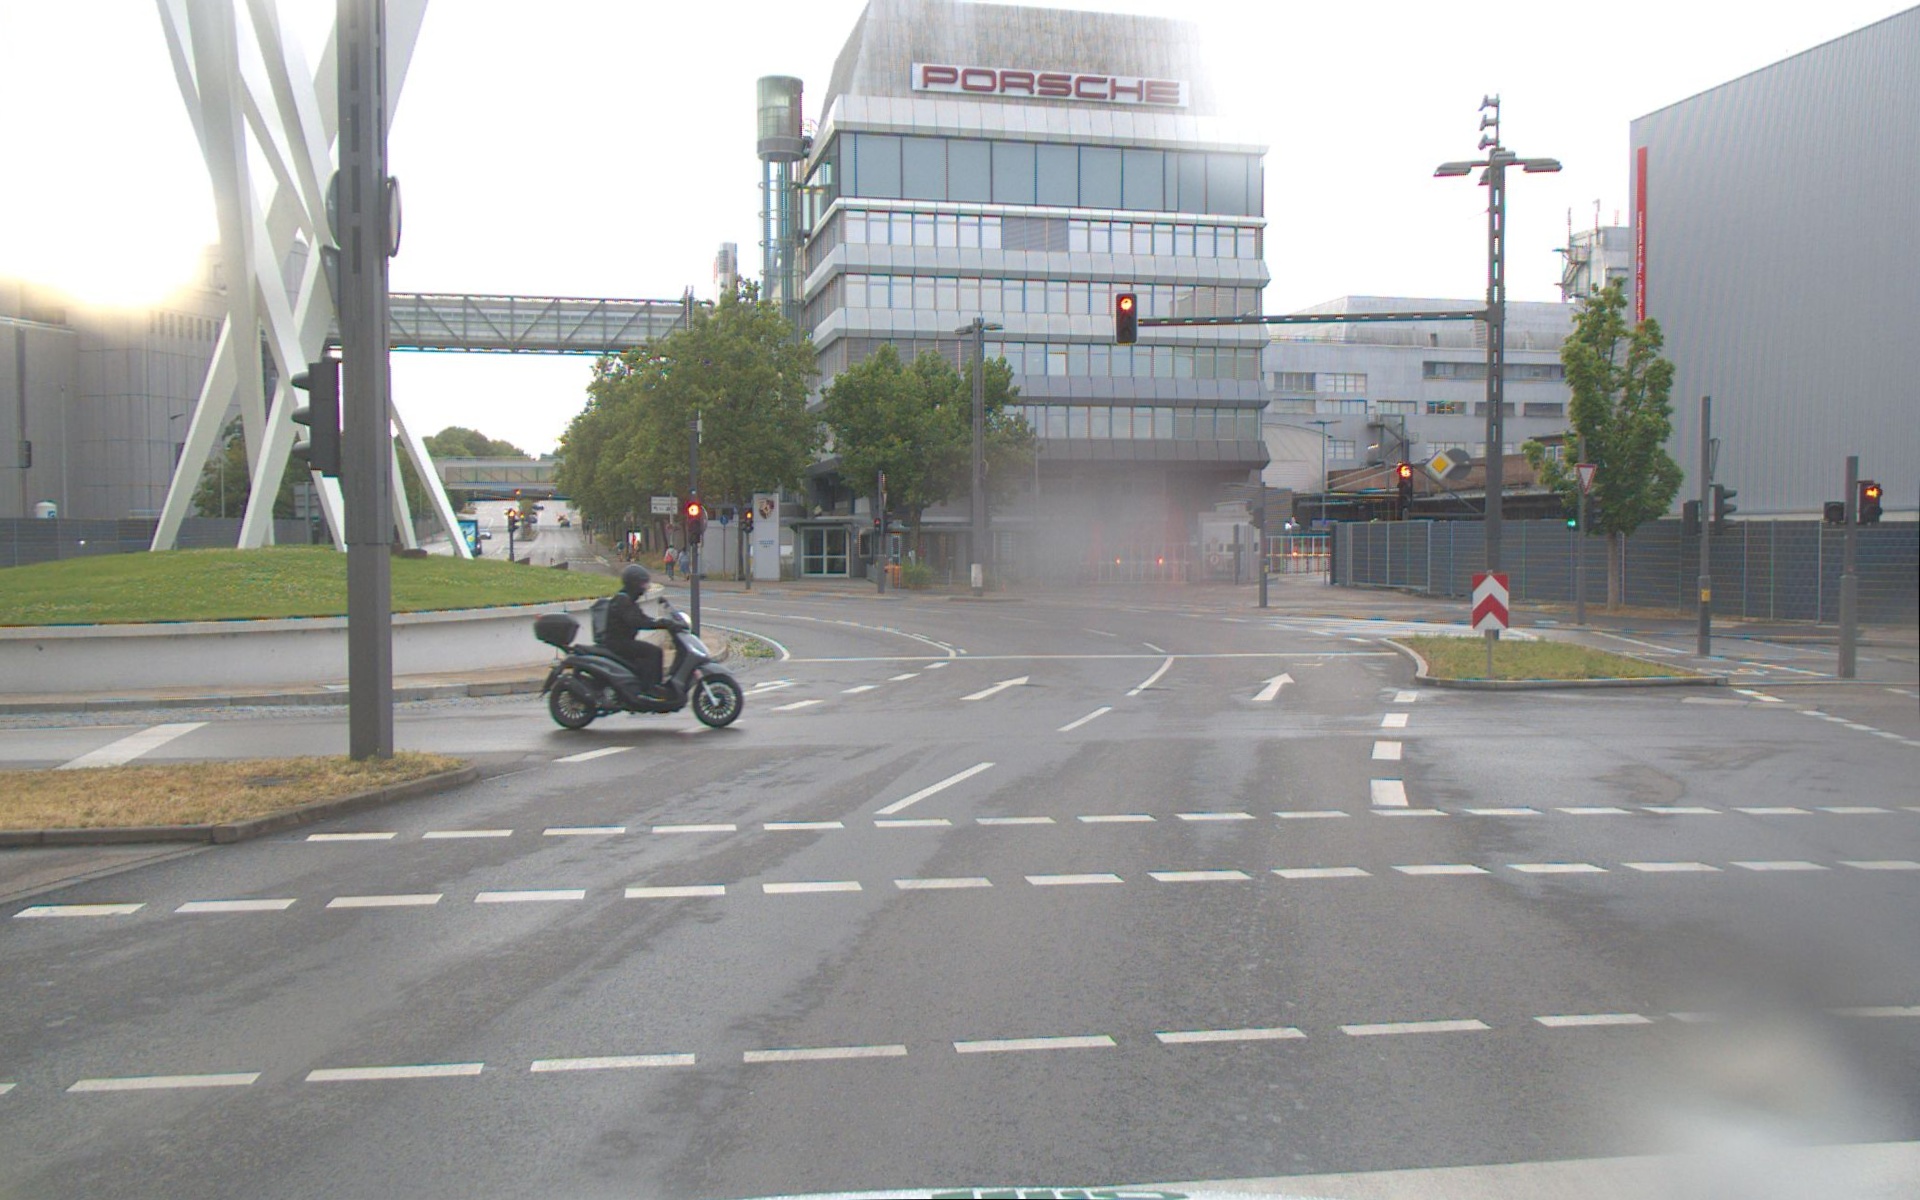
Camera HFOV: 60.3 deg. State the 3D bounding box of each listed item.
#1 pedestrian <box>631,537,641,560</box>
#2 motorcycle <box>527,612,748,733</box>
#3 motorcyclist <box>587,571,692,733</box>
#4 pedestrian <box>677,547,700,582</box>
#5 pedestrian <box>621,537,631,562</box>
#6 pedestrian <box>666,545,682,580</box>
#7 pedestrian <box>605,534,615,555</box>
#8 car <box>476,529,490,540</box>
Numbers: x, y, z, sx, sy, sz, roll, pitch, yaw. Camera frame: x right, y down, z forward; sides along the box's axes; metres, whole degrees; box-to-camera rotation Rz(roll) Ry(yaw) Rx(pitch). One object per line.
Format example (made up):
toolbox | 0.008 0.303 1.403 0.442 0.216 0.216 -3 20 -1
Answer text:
pedestrian | -25.472 -4.050 129.988 0.744 1.770 0.712 1 -1 -10
motorcycle | -3.341 0.740 17.239 2.216 1.213 0.450 0 1 -7
motorcyclist | -3.329 0.524 17.245 1.012 1.651 0.670 0 1 -6
pedestrian | -12.367 -1.619 75.350 0.820 1.547 0.835 -1 2 -24
pedestrian | -24.591 -3.711 121.734 0.699 1.770 0.757 1 -1 -14
pedestrian | -13.188 -1.732 76.341 0.696 1.619 0.839 -1 2 -10
pedestrian | -35.030 -5.573 165.485 0.749 2.049 0.693 0 1 3
car | -69.821 -9.588 242.111 1.854 1.578 4.488 0 1 -17
